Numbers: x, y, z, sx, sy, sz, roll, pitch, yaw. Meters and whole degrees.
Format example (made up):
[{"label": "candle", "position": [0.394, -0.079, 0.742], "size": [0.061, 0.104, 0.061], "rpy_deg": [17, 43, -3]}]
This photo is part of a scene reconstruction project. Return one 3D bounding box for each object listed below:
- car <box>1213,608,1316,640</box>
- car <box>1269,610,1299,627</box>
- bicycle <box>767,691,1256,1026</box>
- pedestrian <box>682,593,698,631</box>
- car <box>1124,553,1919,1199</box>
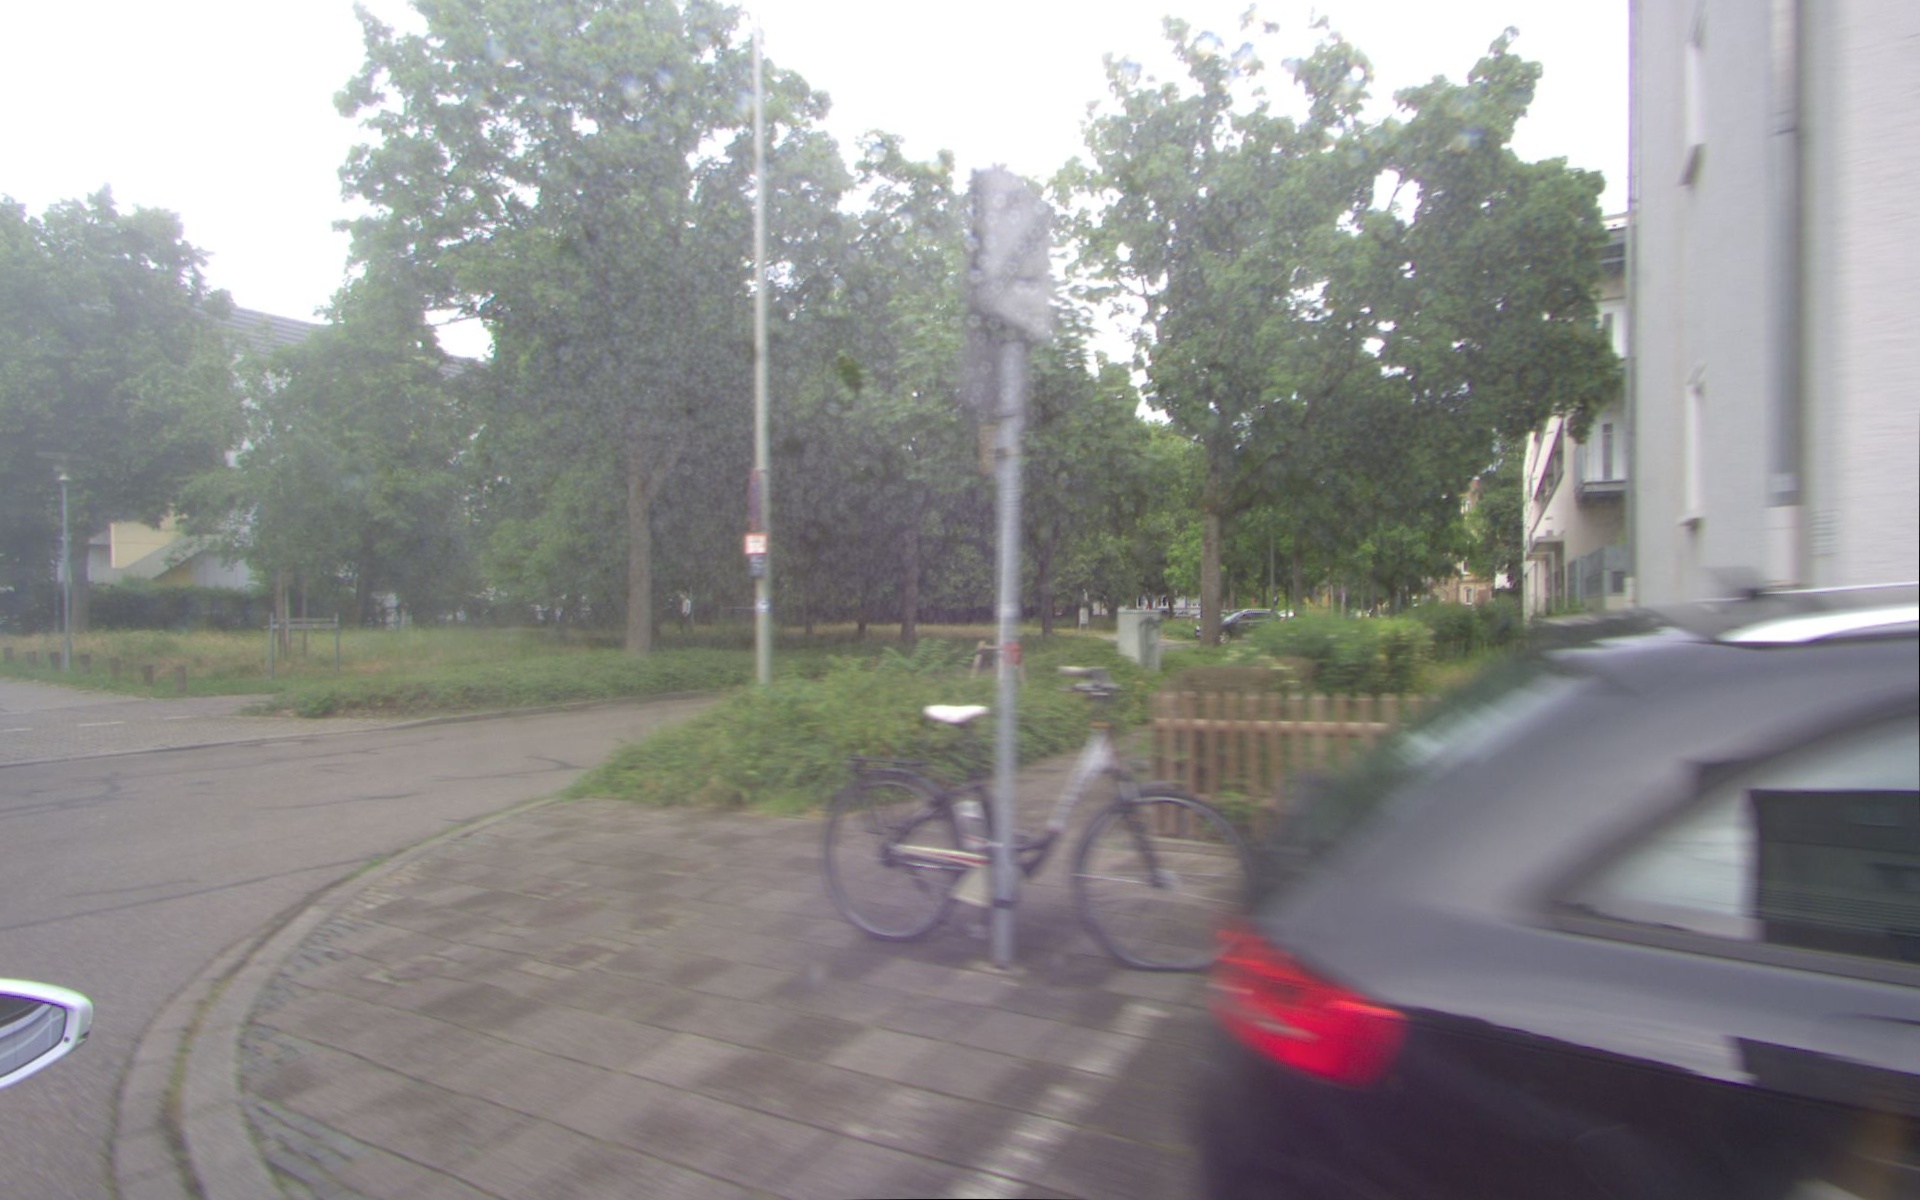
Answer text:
[{"label": "car", "position": [14.834, 1.134, 48.834], "size": [4.460, 1.505, 1.996], "rpy_deg": [0, 0, -17]}, {"label": "car", "position": [38.573, 2.189, 119.264], "size": [3.256, 1.949, 1.808], "rpy_deg": [-1, -1, 20]}, {"label": "bicycle", "position": [0.150, 0.907, 3.980], "size": [1.861, 1.017, 0.566], "rpy_deg": [-2, 1, 31]}, {"label": "pedestrian", "position": [-13.365, 0.589, 49.498], "size": [0.537, 1.822, 0.568], "rpy_deg": [1, 1, 41]}, {"label": "car", "position": [2.676, 0.685, 0.914], "size": [4.654, 1.482, 1.858], "rpy_deg": [0, 1, 29]}]
